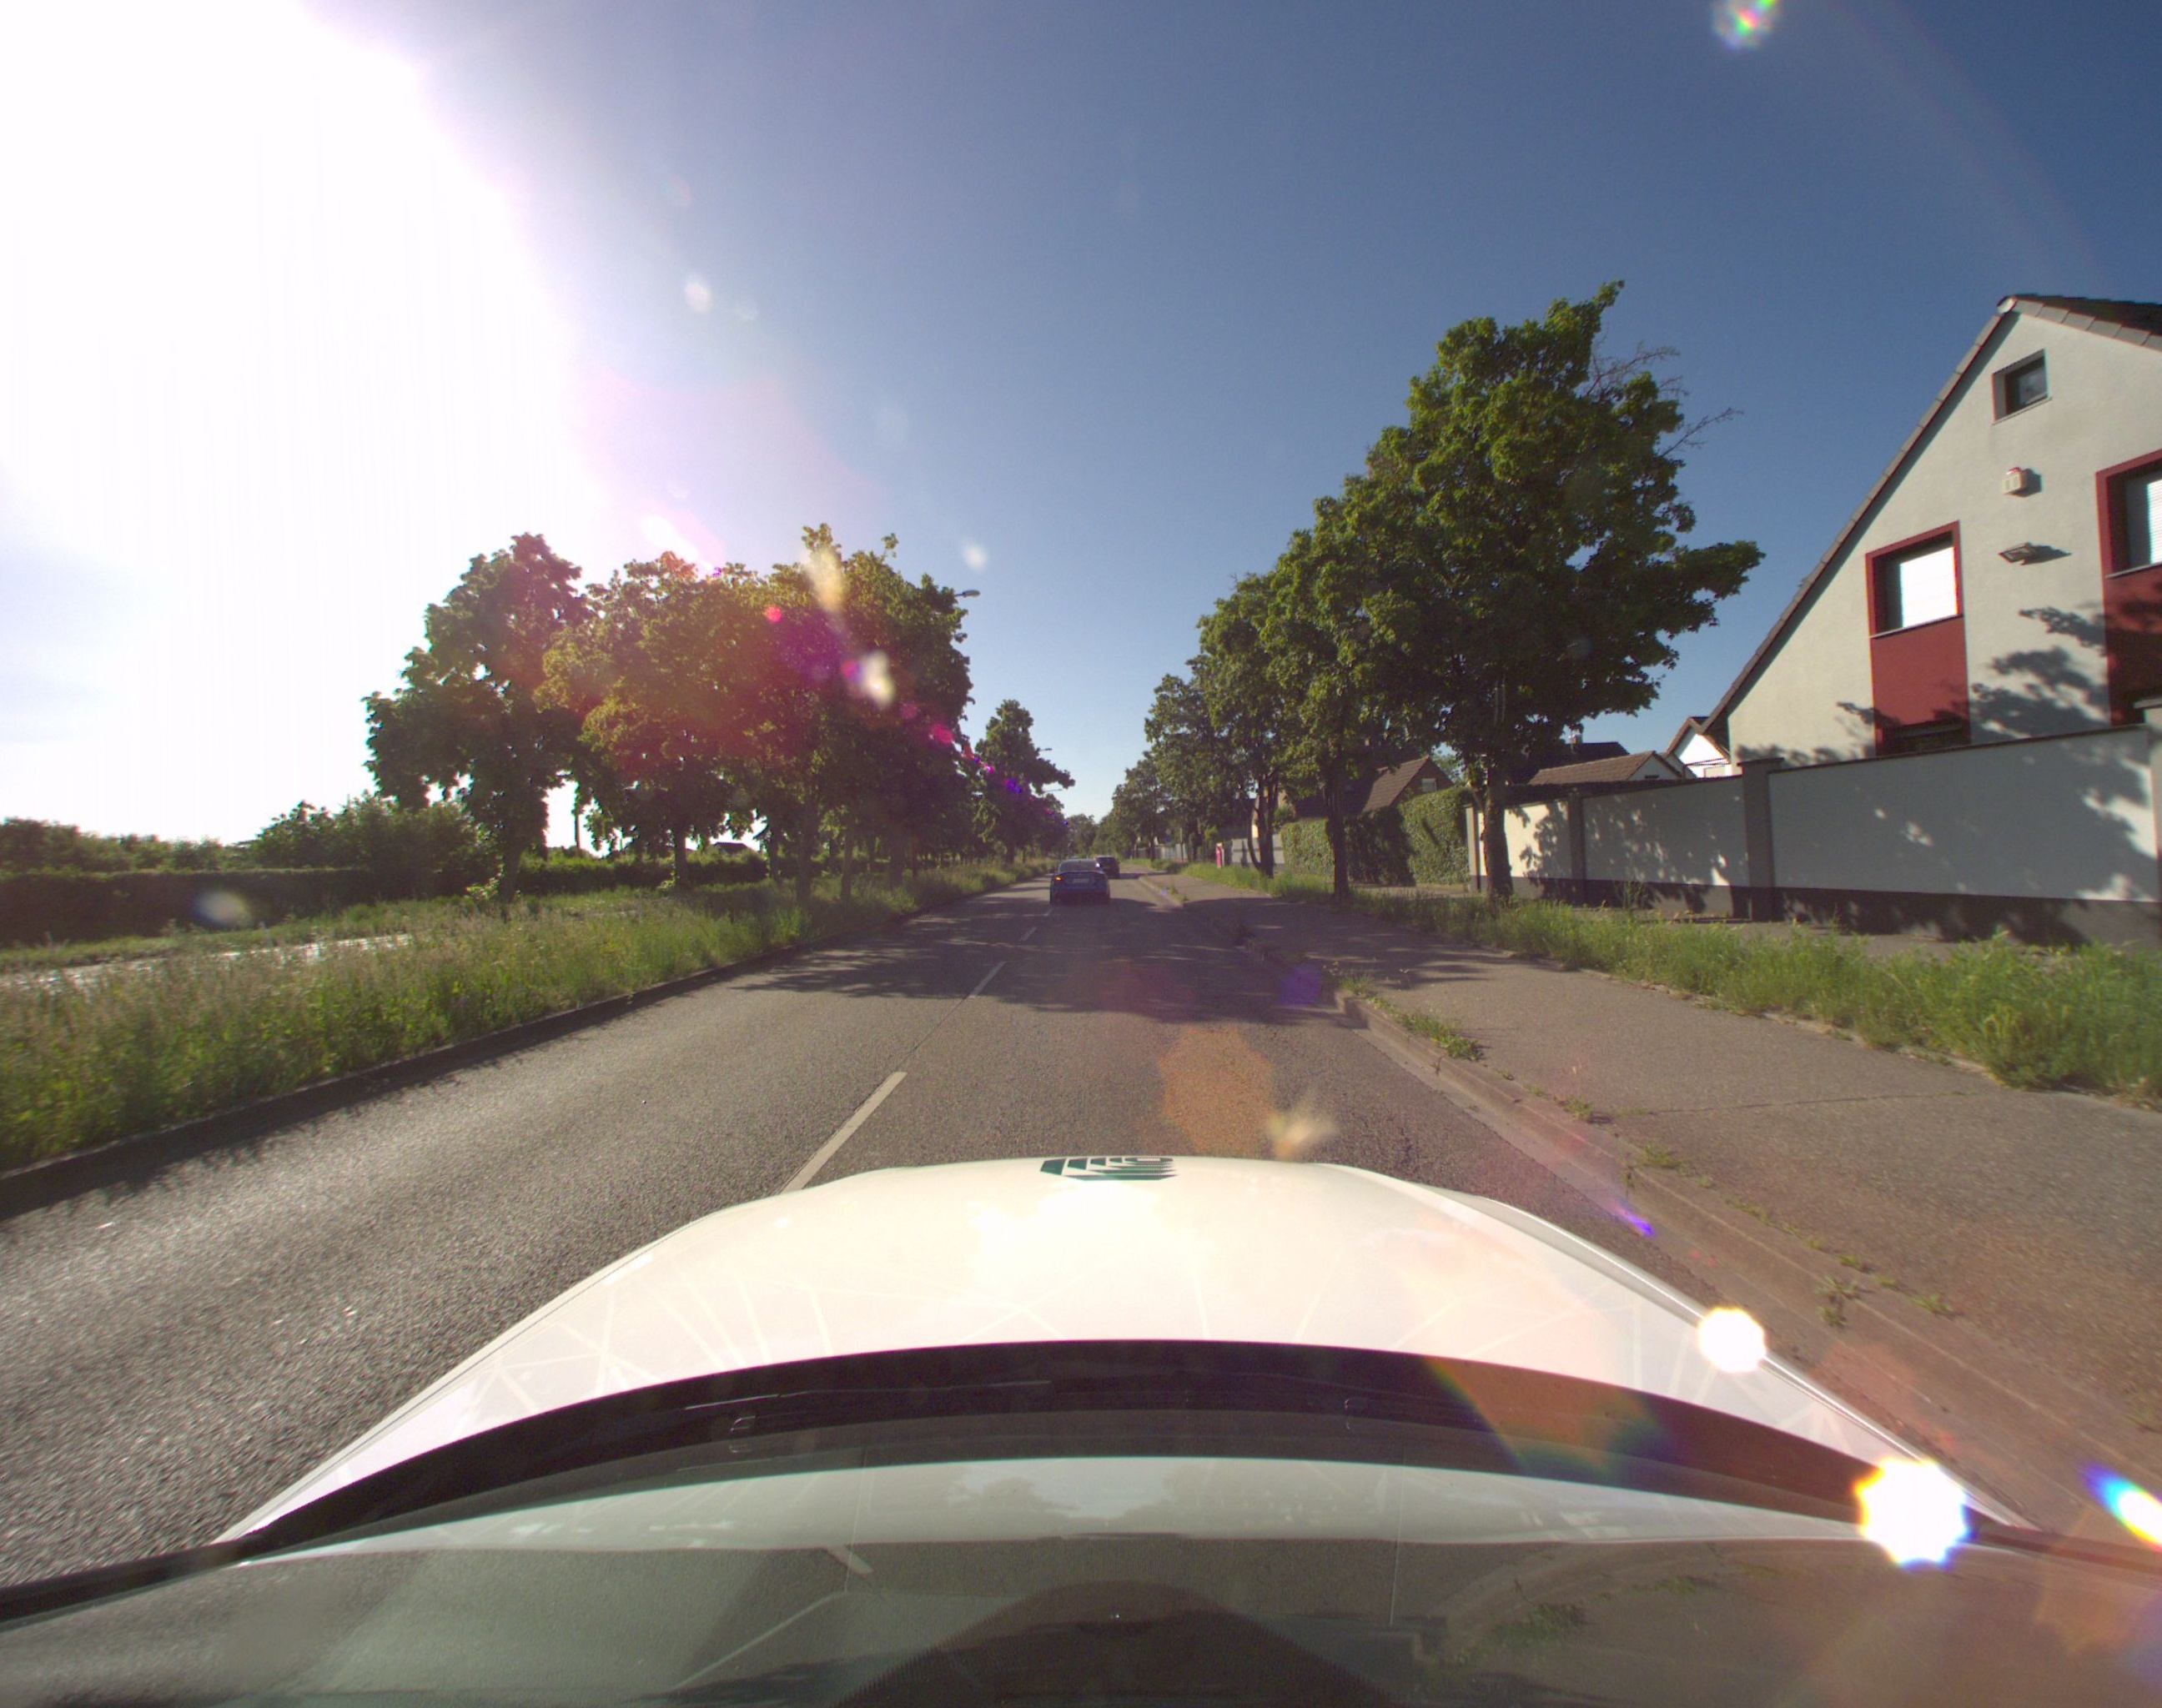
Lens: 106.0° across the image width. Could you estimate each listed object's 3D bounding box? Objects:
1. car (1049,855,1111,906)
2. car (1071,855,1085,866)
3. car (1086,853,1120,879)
[{"bbox_3d":[0.035,0.832,26.844,1.831,1.474,4.186,-2,-1,2],"label":"car"},{"bbox_3d":[-0.407,0.868,113.320,1.909,1.512,4.066,-2,0,-1],"label":"car"},{"bbox_3d":[1.374,0.758,52.876,1.911,1.579,4.178,-2,0,-3],"label":"car"}]
